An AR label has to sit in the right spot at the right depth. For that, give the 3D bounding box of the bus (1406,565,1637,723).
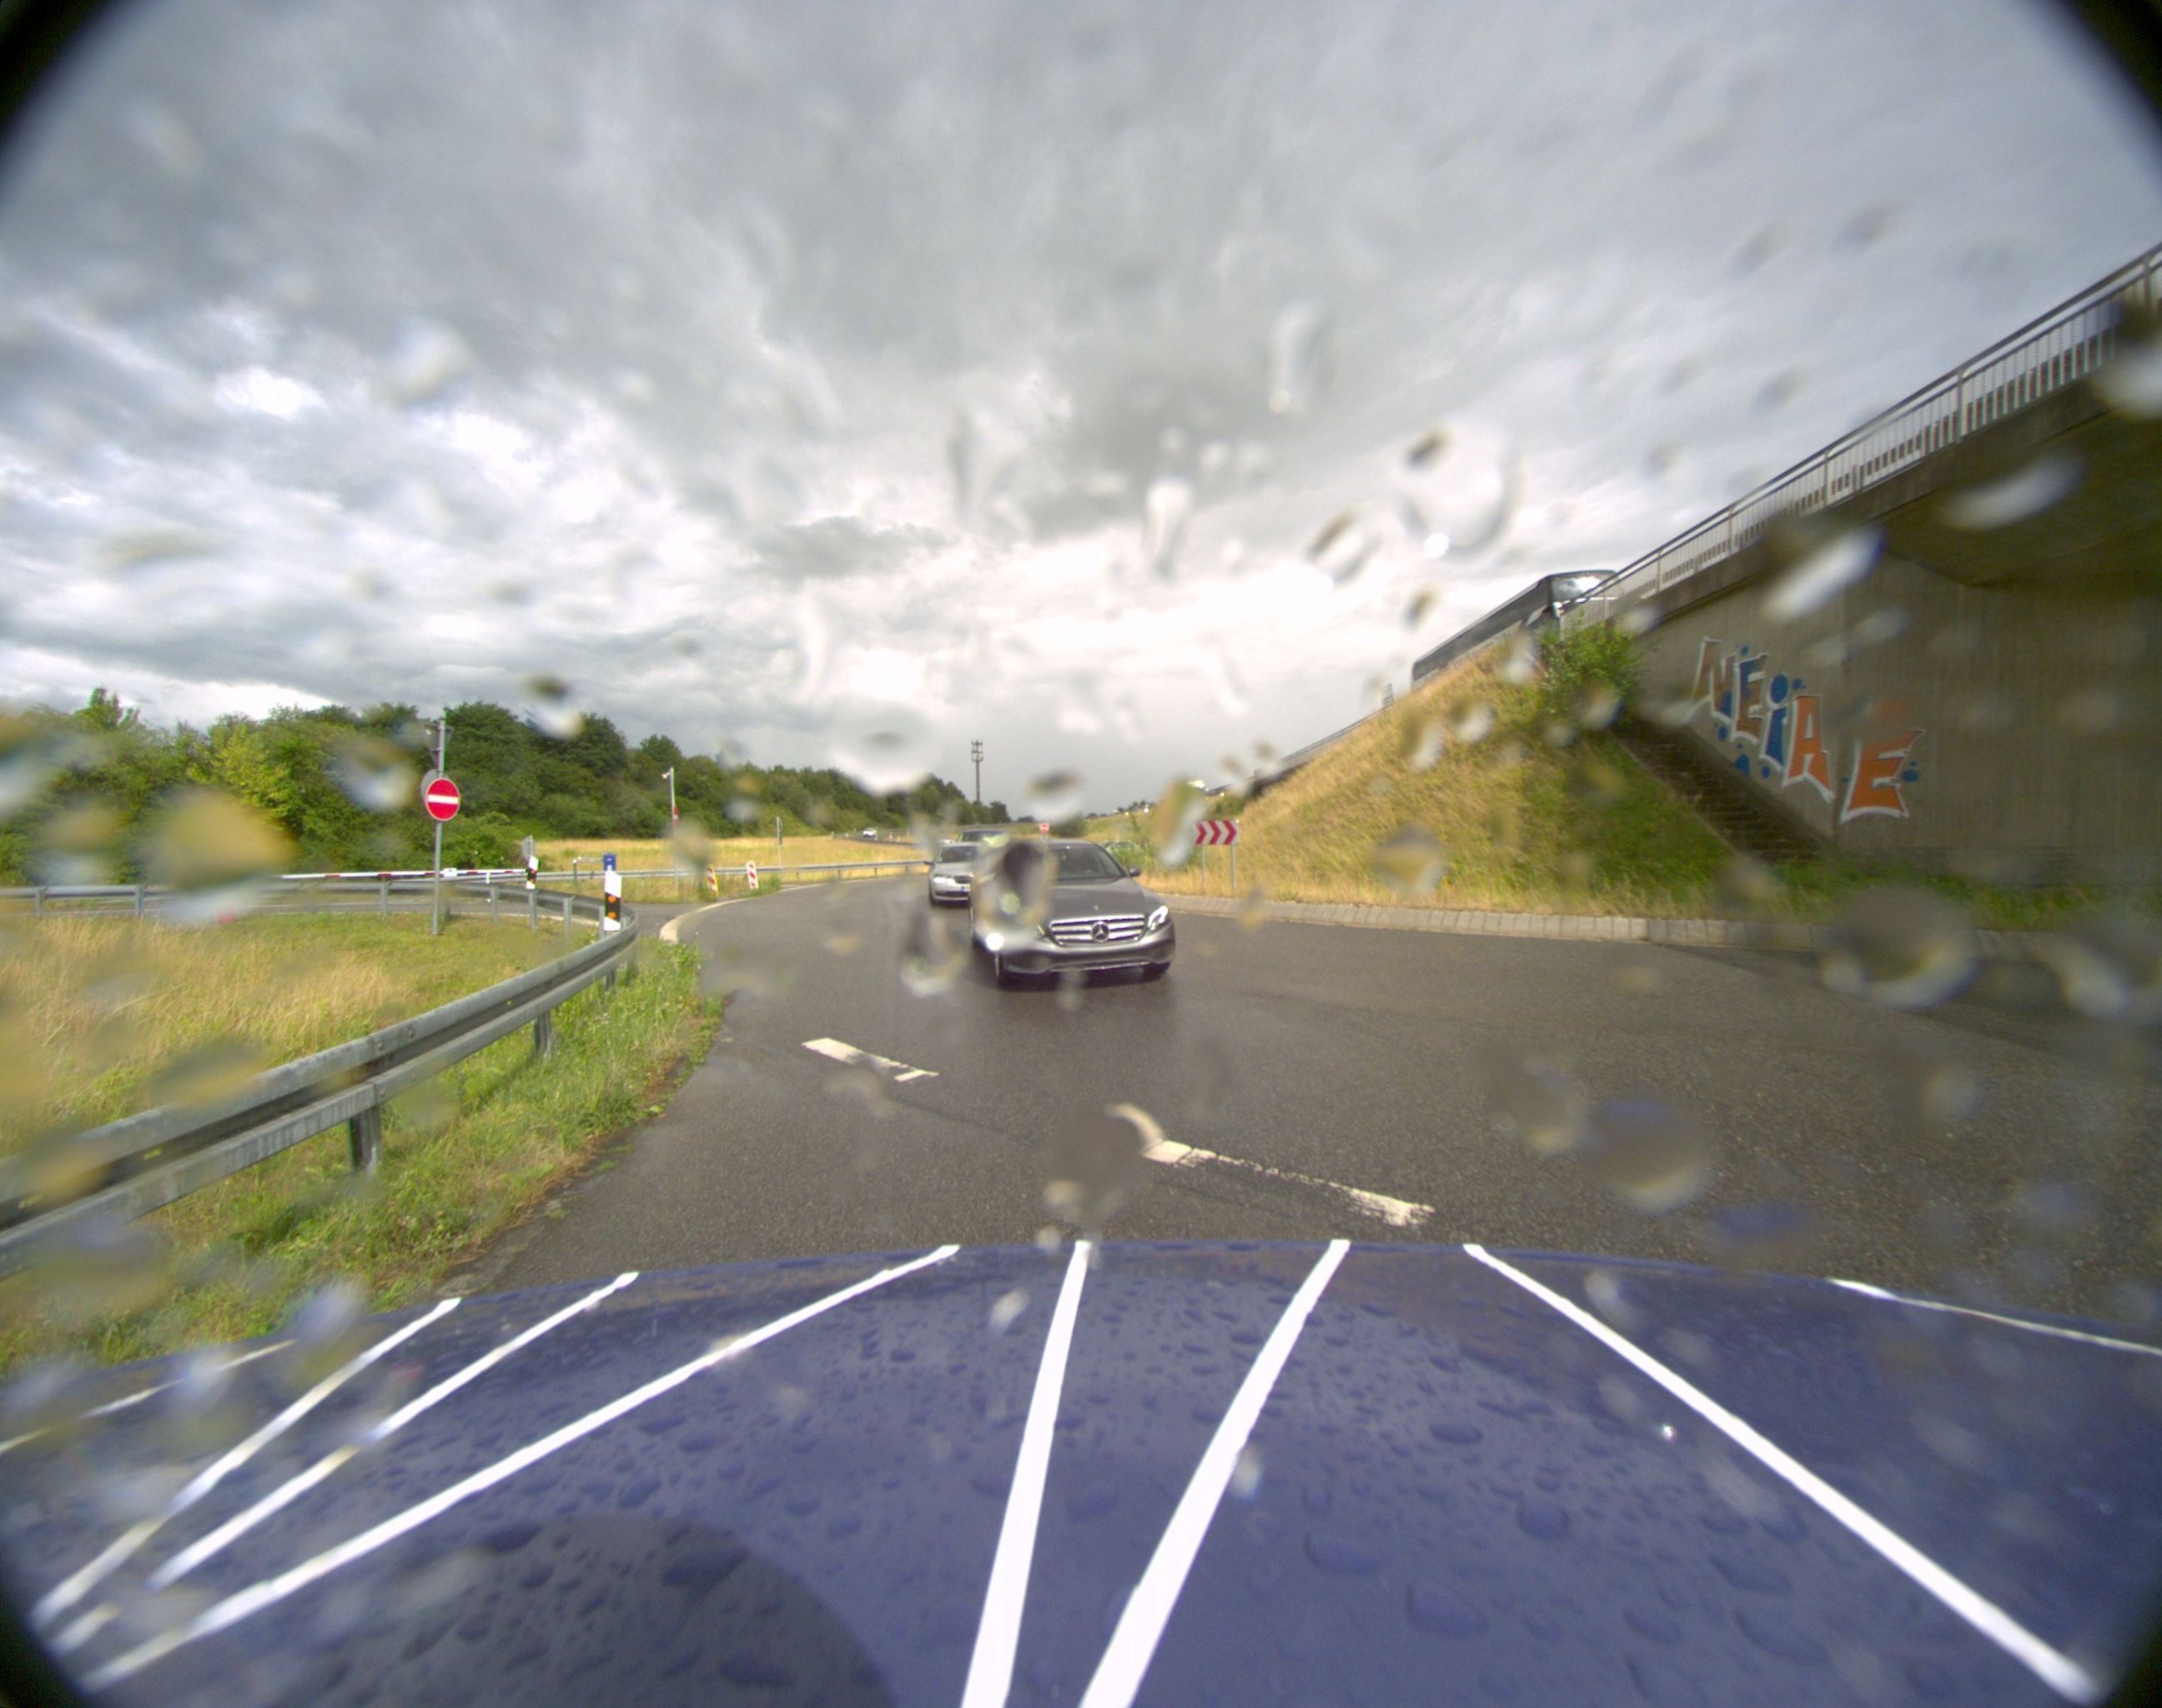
[{"bbox_3d":[17.626,-8.161,32.300,2.610,3.062,14.464,-2,2,5],"label":"bus"}]

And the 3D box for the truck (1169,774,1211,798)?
[{"bbox_3d":[16.964,-10.593,118.914,3.162,3.177,9.266,-3,2,-13],"label":"truck"}]

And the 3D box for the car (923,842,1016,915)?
[{"bbox_3d":[-2.716,0.454,17.718,1.799,1.390,4.343,-2,2,-12],"label":"car"}]

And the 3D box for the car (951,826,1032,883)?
[{"bbox_3d":[-3.326,-0.080,29.532,1.891,1.905,5.681,-2,3,5],"label":"car"}]

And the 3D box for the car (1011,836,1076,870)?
[{"bbox_3d":[-1.647,-0.094,35.009,1.771,1.476,3.838,0,1,17],"label":"car"}]

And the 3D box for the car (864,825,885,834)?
[{"bbox_3d":[-39.613,-4.700,145.710,1.763,1.634,3.898,-2,2,20],"label":"car"}]

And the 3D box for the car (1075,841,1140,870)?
[{"bbox_3d":[1.545,0.059,43.413,1.568,1.528,3.937,1,2,41],"label":"car"}]

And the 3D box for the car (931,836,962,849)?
[{"bbox_3d":[-15.692,-1.352,88.438,1.981,1.528,3.918,-1,1,-36],"label":"car"}]

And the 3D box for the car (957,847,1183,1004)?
[{"bbox_3d":[-0.431,0.645,9.369,1.772,1.383,4.585,-2,1,-14],"label":"car"}]
